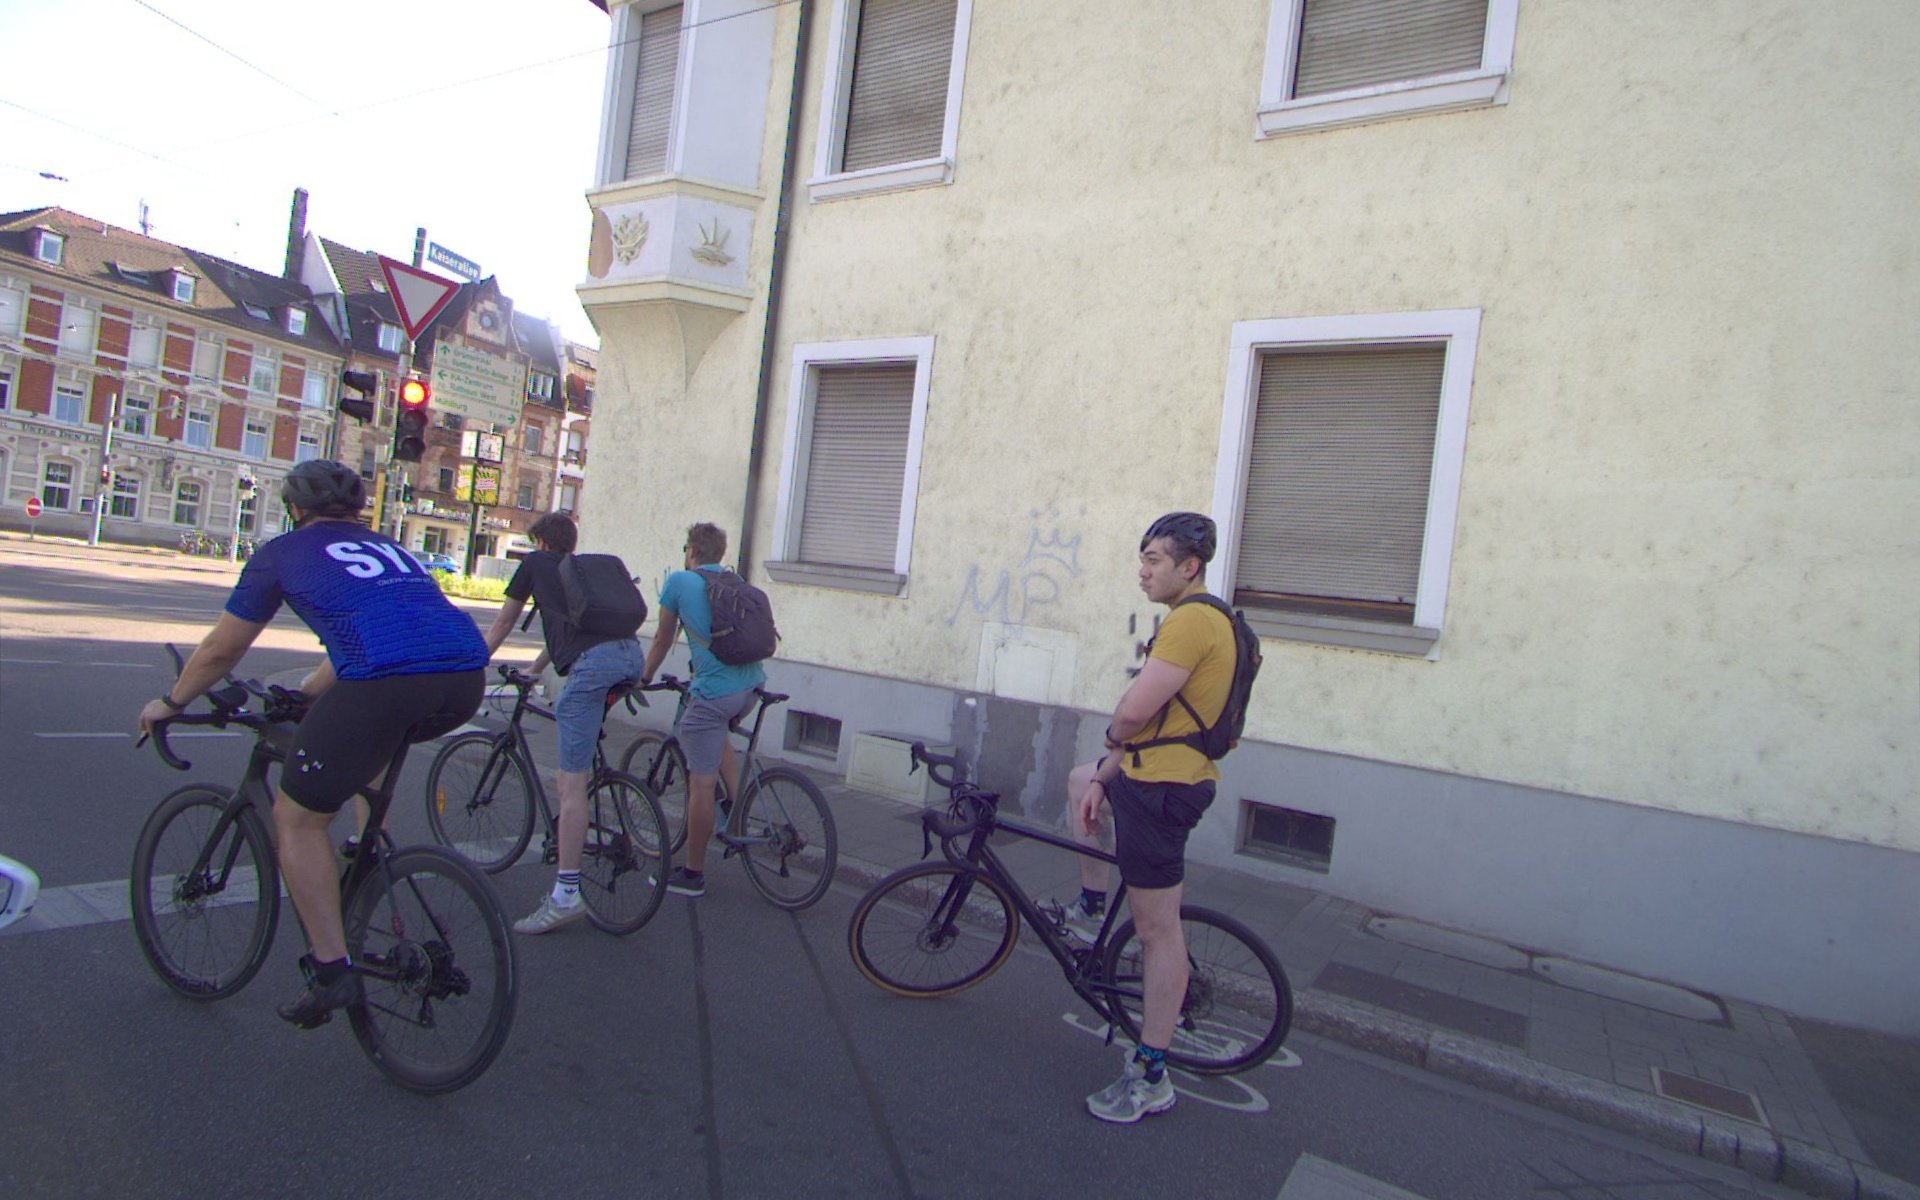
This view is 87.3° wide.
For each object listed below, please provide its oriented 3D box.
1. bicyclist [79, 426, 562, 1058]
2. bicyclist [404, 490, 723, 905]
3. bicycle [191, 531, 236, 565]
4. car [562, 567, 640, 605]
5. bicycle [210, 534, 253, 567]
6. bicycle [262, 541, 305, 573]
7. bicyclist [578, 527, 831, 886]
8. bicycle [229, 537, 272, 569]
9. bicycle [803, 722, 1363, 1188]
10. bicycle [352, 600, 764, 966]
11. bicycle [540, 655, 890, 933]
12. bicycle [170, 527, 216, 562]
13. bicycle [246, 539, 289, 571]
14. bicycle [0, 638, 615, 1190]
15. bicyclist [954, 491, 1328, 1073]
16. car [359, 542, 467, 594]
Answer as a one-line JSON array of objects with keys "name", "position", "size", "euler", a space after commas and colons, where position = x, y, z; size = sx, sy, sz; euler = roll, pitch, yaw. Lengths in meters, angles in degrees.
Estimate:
[{"name": "bicyclist", "position": [-1.839, 0.348, 2.942], "size": [0.867, 1.512, 0.641], "euler": [9, 0, 22]}, {"name": "bicyclist", "position": [-1.776, 0.402, 4.563], "size": [0.868, 1.625, 0.807], "euler": [7, -1, 30]}, {"name": "bicycle", "position": [-34.191, -2.384, 46.066], "size": [2.618, 1.301, 0.693], "euler": [6, -1, 33]}, {"name": "car", "position": [-23.236, -0.877, 65.285], "size": [1.967, 1.798, 4.374], "euler": [6, -2, 31]}, {"name": "bicycle", "position": [-33.825, -2.310, 46.690], "size": [2.618, 1.301, 0.629], "euler": [6, -1, 33]}, {"name": "bicycle", "position": [-32.672, -2.073, 48.581], "size": [2.618, 1.301, 0.629], "euler": [6, -1, 33]}, {"name": "bicyclist", "position": [-1.327, 0.513, 5.245], "size": [0.869, 1.652, 0.690], "euler": [6, -1, 34]}, {"name": "bicycle", "position": [-33.409, -2.218, 47.362], "size": [2.618, 1.301, 0.629], "euler": [6, -1, 33]}, {"name": "bicycle", "position": [0.402, 1.096, 3.630], "size": [1.751, 1.043, 0.756], "euler": [6, -2, 33]}, {"name": "bicycle", "position": [-1.857, 0.736, 4.605], "size": [1.674, 1.251, 0.756], "euler": [6, -1, 30]}, {"name": "bicycle", "position": [-1.315, 0.927, 5.255], "size": [1.742, 1.043, 0.650], "euler": [6, -1, 33]}, {"name": "bicycle", "position": [-34.590, -2.512, 45.365], "size": [2.618, 1.301, 0.693], "euler": [6, -1, 33]}, {"name": "bicycle", "position": [-33.041, -2.158, 47.992], "size": [2.618, 1.301, 0.629], "euler": [6, -1, 33]}, {"name": "bicycle", "position": [-1.961, 0.773, 2.972], "size": [1.671, 1.097, 0.628], "euler": [7, -1, 22]}, {"name": "bicyclist", "position": [0.656, 0.545, 3.519], "size": [0.869, 1.682, 0.807], "euler": [6, -1, 32]}, {"name": "car", "position": [-25.455, -1.456, 46.905], "size": [1.967, 1.798, 3.790], "euler": [6, -2, 31]}]
